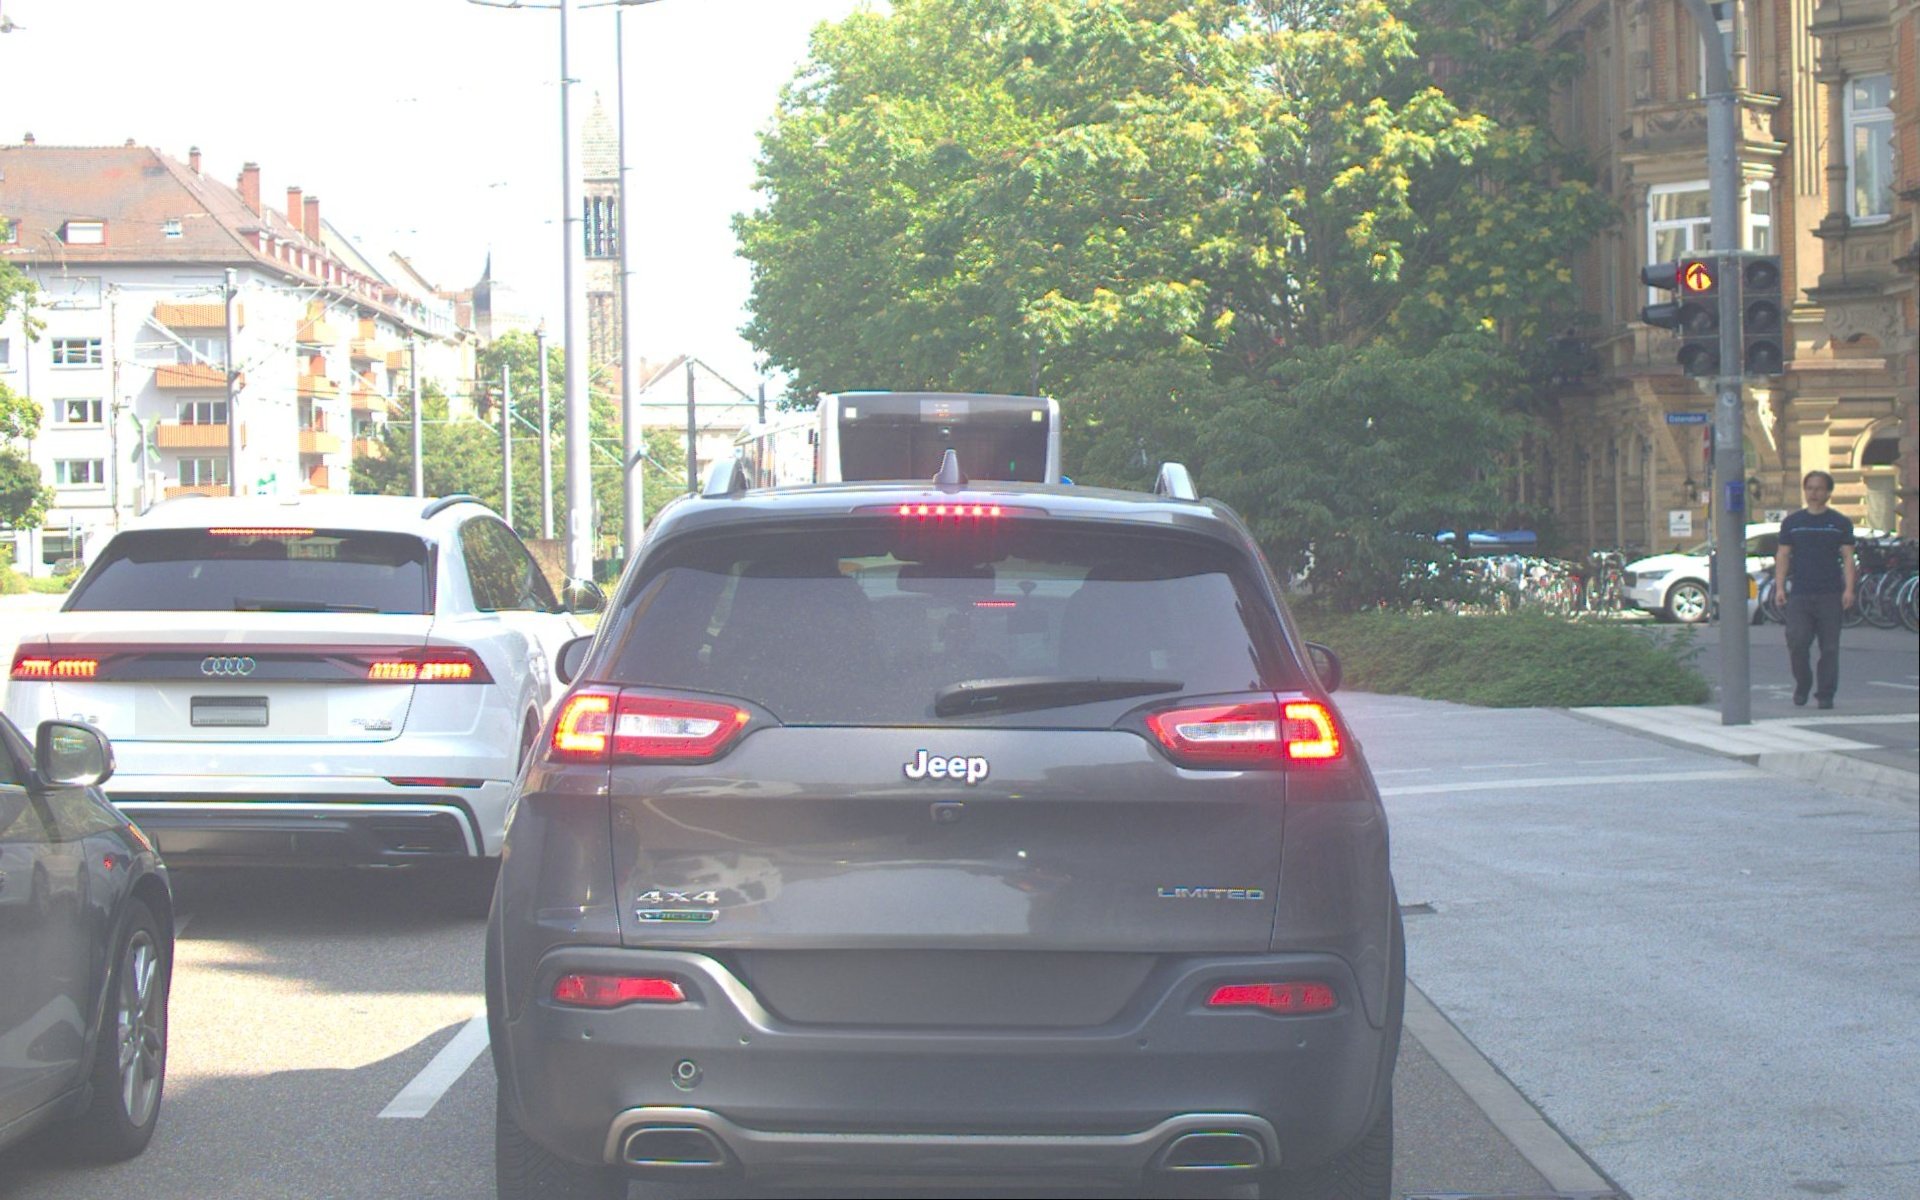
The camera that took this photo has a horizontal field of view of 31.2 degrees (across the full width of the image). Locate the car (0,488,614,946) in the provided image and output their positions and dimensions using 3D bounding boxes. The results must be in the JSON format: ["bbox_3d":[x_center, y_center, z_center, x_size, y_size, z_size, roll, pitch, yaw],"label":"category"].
[{"bbox_3d":[-2.610,0.372,14.516,1.902,1.646,4.309,0,1,0],"label":"car"}]

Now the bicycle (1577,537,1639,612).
[{"bbox_3d":[11.091,-0.454,58.894,0.658,1.245,2.412,-1,1,2],"label":"bicycle"}]

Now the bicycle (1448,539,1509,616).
[{"bbox_3d":[8.803,-0.403,58.449,0.649,1.249,3.014,-1,1,2],"label":"bicycle"}]

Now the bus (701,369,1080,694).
[{"bbox_3d":[-1.130,-0.742,40.501,2.743,3.096,11.958,-4,1,-9],"label":"bus"}]

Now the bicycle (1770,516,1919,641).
[{"bbox_3d":[10.782,-0.268,38.904,2.993,1.366,0.871,-1,1,-1],"label":"bicycle"}]

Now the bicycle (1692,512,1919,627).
[{"bbox_3d":[10.735,-0.386,42.801,3.003,1.368,0.947,-1,1,-1],"label":"bicycle"}]

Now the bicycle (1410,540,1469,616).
[{"bbox_3d":[8.142,-0.388,58.473,0.649,1.249,3.014,-1,1,2],"label":"bicycle"}]

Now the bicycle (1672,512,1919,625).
[{"bbox_3d":[10.684,-0.411,43.812,3.003,1.368,0.947,-1,1,-1],"label":"bicycle"}]

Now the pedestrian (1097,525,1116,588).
[{"bbox_3d":[4.717,-1.407,110.921,0.528,2.007,0.532,-1,1,-2],"label":"pedestrian"}]

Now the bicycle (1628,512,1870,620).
[{"bbox_3d":[10.580,-0.461,46.170,3.003,1.368,0.947,-1,1,-1],"label":"bicycle"}]

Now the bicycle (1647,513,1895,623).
[{"bbox_3d":[10.632,-0.425,45.129,3.003,1.368,0.947,-1,1,-1],"label":"bicycle"}]

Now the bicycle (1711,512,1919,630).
[{"bbox_3d":[10.735,-0.360,41.707,3.003,1.368,0.947,-1,1,-1],"label":"bicycle"}]

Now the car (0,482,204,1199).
[{"bbox_3d":[-2.809,0.565,6.708,1.747,1.609,4.309,0,1,0],"label":"car"}]

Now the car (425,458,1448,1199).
[{"bbox_3d":[-0.024,0.529,8.345,1.832,1.646,4.308,0,1,1],"label":"car"}]

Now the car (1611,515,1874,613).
[{"bbox_3d":[13.058,-0.611,57.475,3.931,1.515,1.683,-1,1,-7],"label":"car"}]

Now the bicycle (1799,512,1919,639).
[{"bbox_3d":[10.884,-0.294,37.997,2.993,1.366,0.871,-1,1,-1],"label":"bicycle"}]

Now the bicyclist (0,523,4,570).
[{"bbox_3d":[-27.223,-1.508,96.793,0.448,1.317,0.425,-1,1,3],"label":"bicyclist"}]

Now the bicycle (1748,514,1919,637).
[{"bbox_3d":[10.732,-0.299,39.816,2.993,1.366,0.871,-1,1,-1],"label":"bicycle"}]

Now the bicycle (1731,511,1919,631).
[{"bbox_3d":[10.744,-0.360,40.763,2.993,1.366,0.871,-1,1,-1],"label":"bicycle"}]

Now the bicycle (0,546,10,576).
[{"bbox_3d":[-27.215,-1.098,96.808,0.454,0.856,1.475,-1,1,3],"label":"bicycle"}]

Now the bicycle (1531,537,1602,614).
[{"bbox_3d":[10.292,-0.430,58.461,0.763,1.249,3.014,-1,1,2],"label":"bicycle"}]

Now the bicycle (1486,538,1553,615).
[{"bbox_3d":[9.503,-0.415,58.447,0.732,1.249,3.014,-1,1,2],"label":"bicycle"}]

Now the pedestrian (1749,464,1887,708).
[{"bbox_3d":[6.286,-0.104,25.224,0.899,1.735,0.768,-2,1,13],"label":"pedestrian"}]
